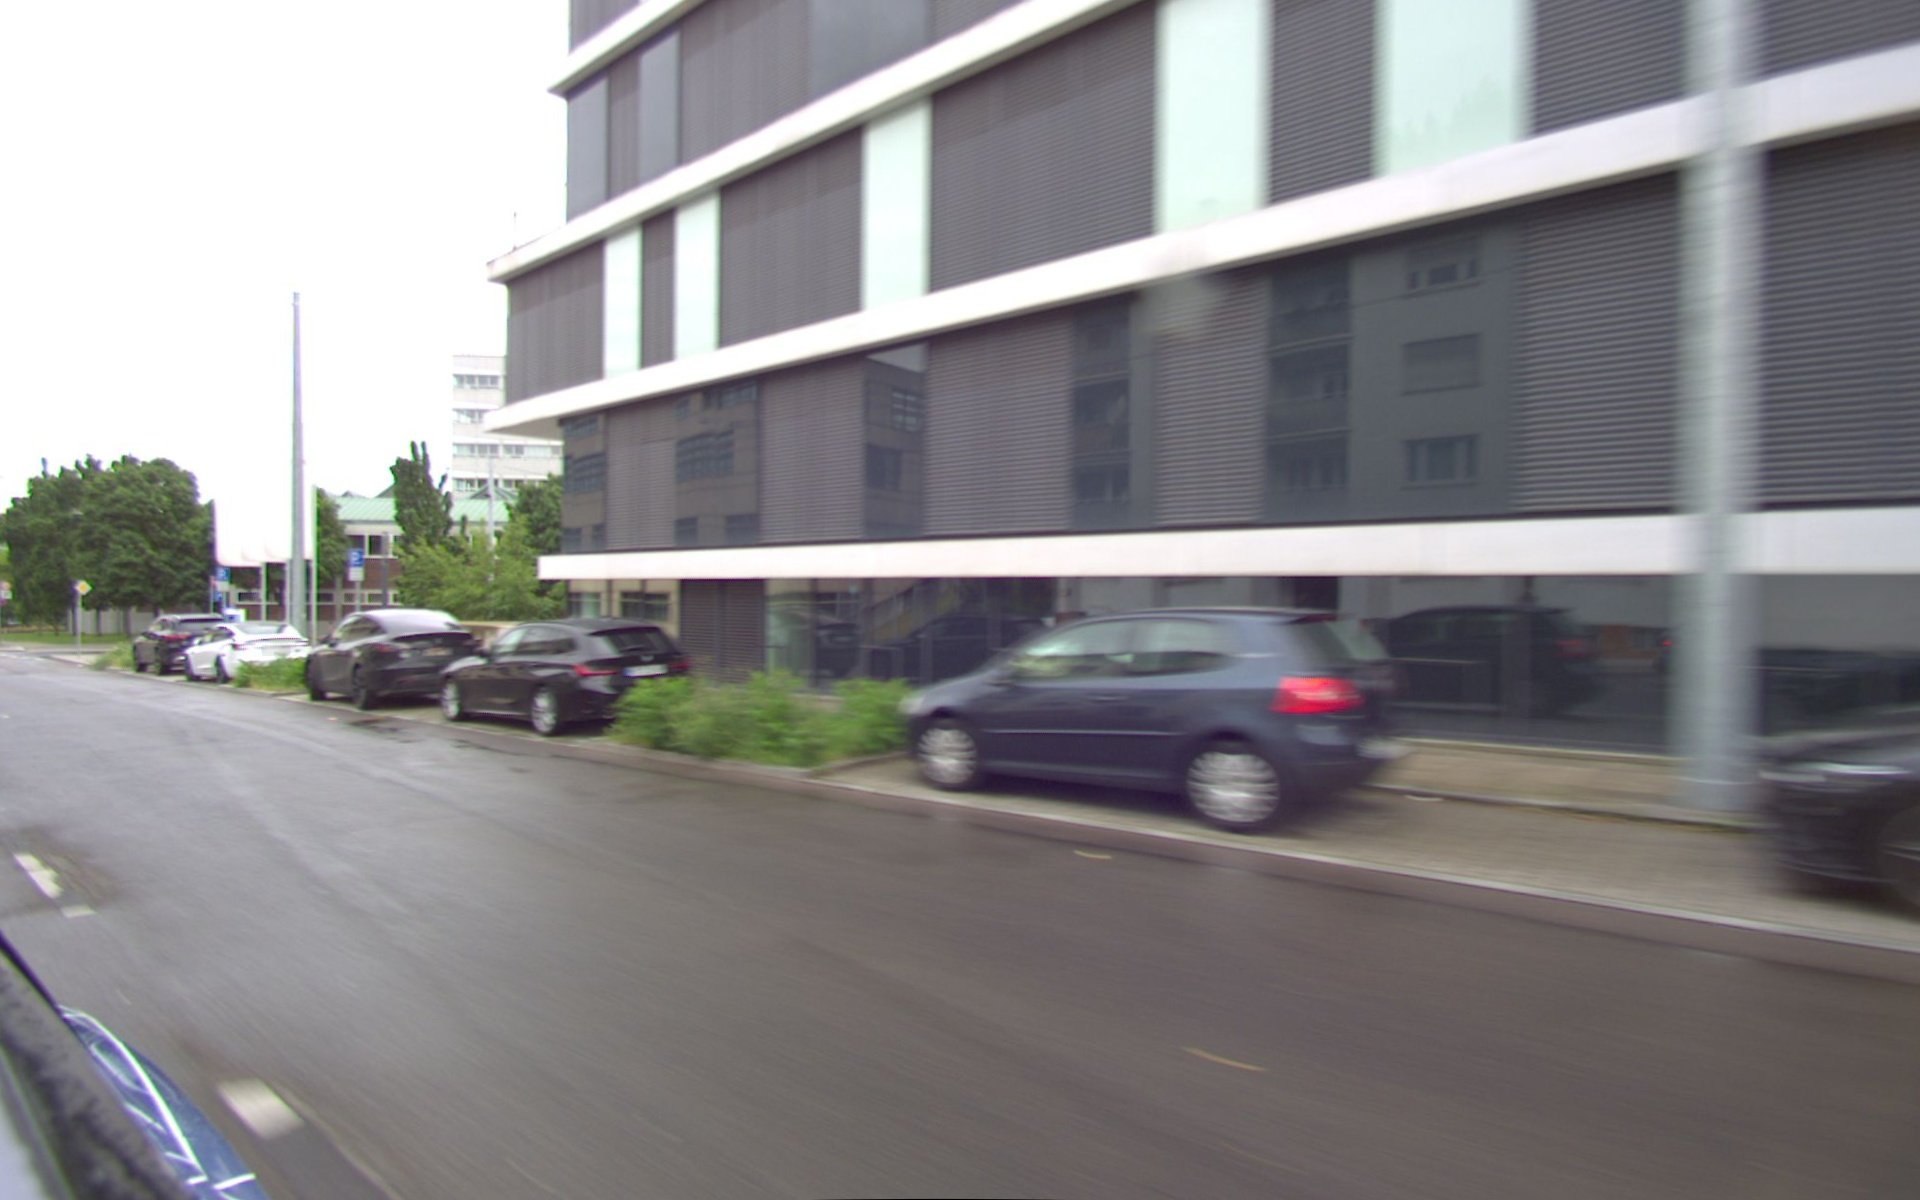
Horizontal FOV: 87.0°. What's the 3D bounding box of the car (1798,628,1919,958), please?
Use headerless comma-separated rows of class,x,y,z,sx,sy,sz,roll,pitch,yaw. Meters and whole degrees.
car,6.165,0.835,3.959,4.390,1.407,1.818,-1,-1,41

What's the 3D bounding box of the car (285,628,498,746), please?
car,-10.239,1.410,18.033,4.942,1.763,1.941,-1,-1,43

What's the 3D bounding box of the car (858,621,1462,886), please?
car,1.366,0.989,8.037,4.344,1.500,1.843,-3,-2,41

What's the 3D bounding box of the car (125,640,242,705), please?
car,-22.288,2.002,28.992,4.489,1.630,1.830,-1,-1,41

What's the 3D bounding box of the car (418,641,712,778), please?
car,-5.619,1.372,14.082,4.738,1.484,1.852,-1,-1,41

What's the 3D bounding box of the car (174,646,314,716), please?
car,-17.462,1.892,24.602,4.400,1.429,1.802,-1,-1,41
